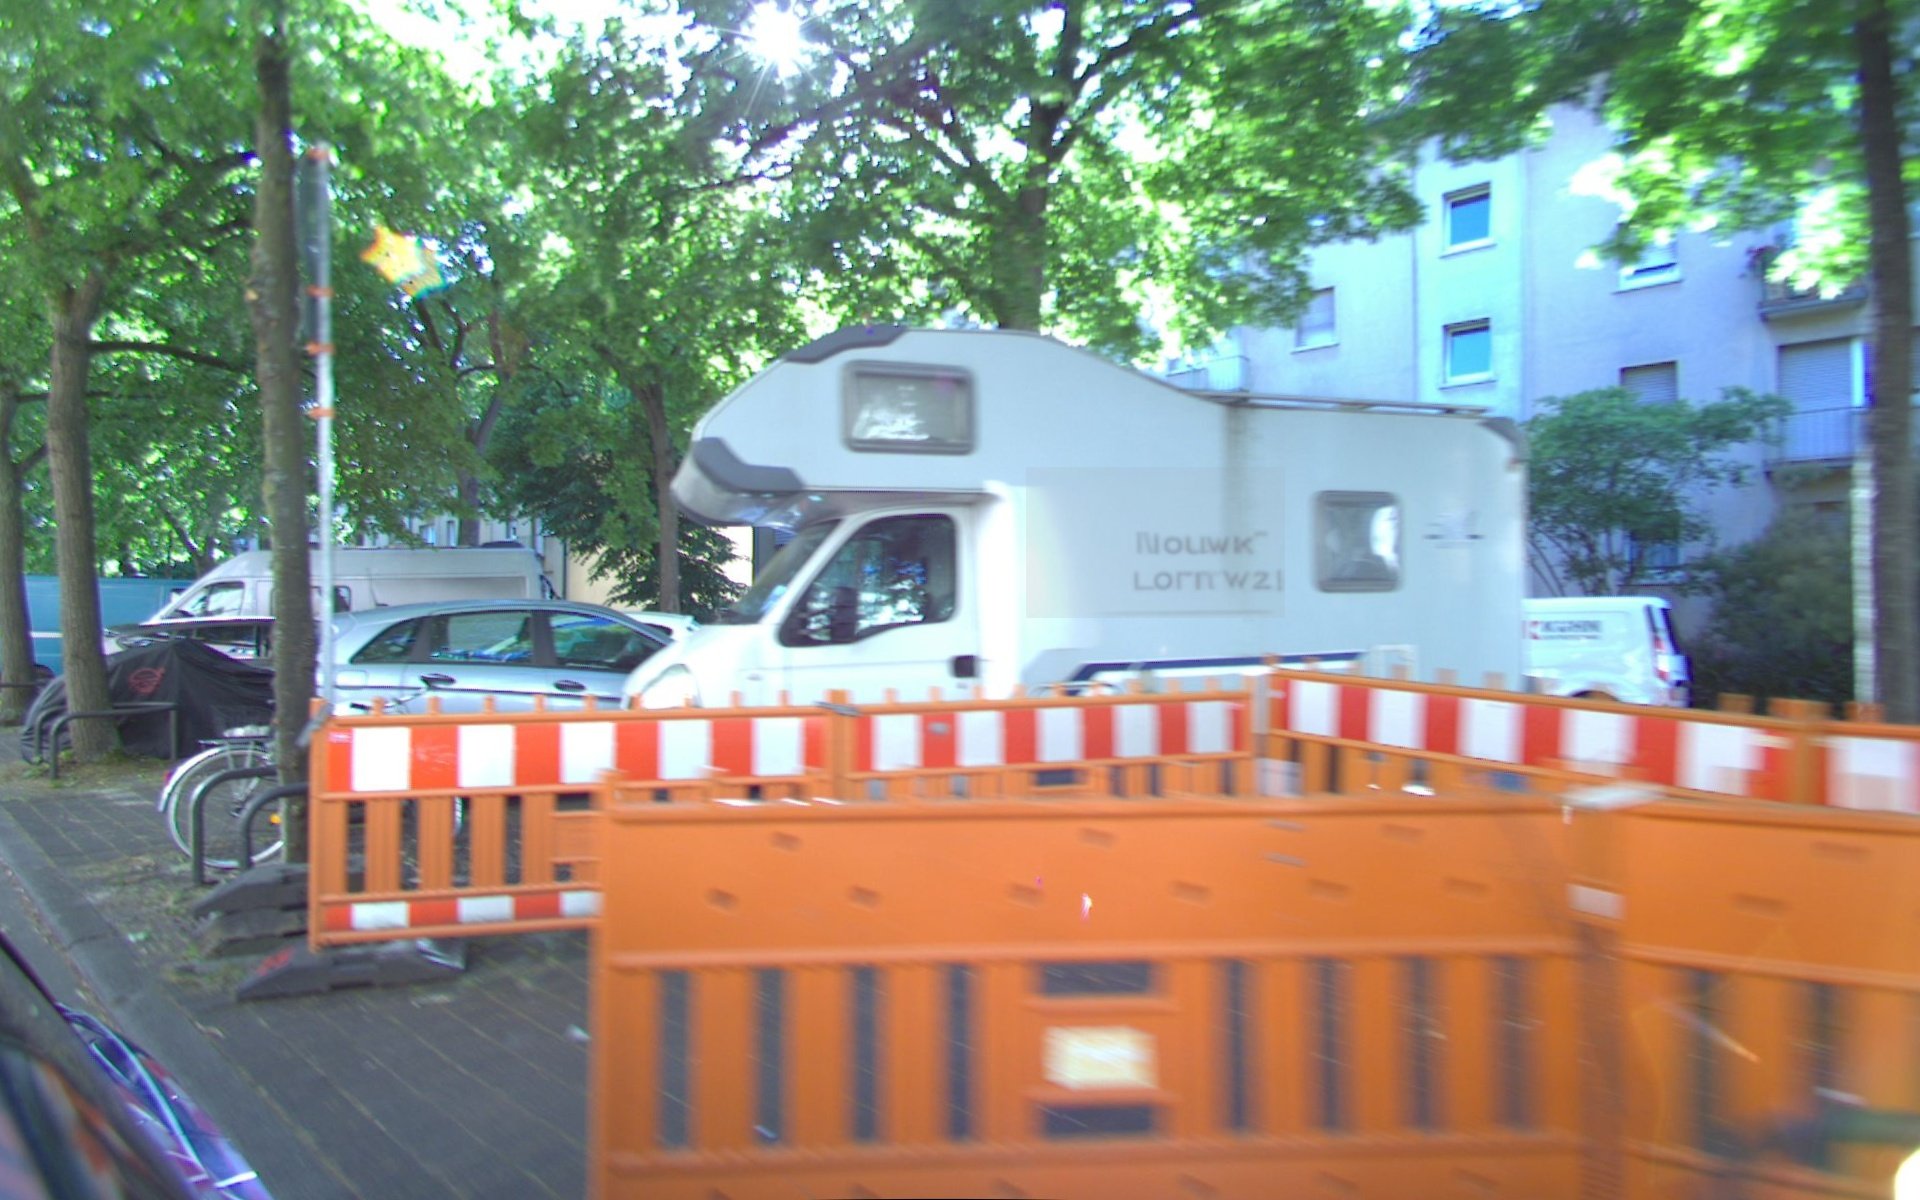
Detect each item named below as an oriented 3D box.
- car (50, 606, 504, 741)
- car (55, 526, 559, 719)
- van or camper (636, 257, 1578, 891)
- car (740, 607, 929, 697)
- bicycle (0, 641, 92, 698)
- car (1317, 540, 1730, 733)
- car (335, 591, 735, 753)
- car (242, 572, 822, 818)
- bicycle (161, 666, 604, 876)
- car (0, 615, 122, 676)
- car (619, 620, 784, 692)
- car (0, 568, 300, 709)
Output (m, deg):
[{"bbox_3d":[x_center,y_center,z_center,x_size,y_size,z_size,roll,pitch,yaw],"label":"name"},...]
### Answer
[{"bbox_3d":[-8.298,0.858,12.808,4.447,1.494,1.743,0,-2,-19],"label":"car"},{"bbox_3d":[-9.373,0.345,15.365,6.094,2.530,2.145,1,-2,-21],"label":"car"},{"bbox_3d":[0.949,-0.084,6.958,5.929,3.025,2.407,0,-2,-20],"label":"van or camper"},{"bbox_3d":[-2.680,1.061,21.194,3.936,1.711,1.696,-1,-4,41],"label":"car"},{"bbox_3d":[-16.982,1.247,18.157,2.119,0.977,0.609,1,-2,-42],"label":"bicycle"},{"bbox_3d":[6.867,0.412,12.616,4.263,2.029,1.604,-1,0,40],"label":"car"},{"bbox_3d":[-4.421,0.725,11.063,3.761,1.556,1.687,0,-2,-14],"label":"car"},{"bbox_3d":[-3.290,0.666,8.302,3.930,1.629,1.803,1,-2,-23],"label":"car"},{"bbox_3d":[-3.472,0.965,6.293,2.345,0.985,0.502,0,-1,-40],"label":"bicycle"},{"bbox_3d":[-23.469,1.137,25.482,3.218,1.427,1.753,-1,0,-17],"label":"car"},{"bbox_3d":[-6.315,1.290,24.576,3.997,1.597,1.973,-2,-2,41],"label":"car"},{"bbox_3d":[-13.799,0.627,16.935,4.322,2.184,1.776,1,-2,-21],"label":"car"}]
